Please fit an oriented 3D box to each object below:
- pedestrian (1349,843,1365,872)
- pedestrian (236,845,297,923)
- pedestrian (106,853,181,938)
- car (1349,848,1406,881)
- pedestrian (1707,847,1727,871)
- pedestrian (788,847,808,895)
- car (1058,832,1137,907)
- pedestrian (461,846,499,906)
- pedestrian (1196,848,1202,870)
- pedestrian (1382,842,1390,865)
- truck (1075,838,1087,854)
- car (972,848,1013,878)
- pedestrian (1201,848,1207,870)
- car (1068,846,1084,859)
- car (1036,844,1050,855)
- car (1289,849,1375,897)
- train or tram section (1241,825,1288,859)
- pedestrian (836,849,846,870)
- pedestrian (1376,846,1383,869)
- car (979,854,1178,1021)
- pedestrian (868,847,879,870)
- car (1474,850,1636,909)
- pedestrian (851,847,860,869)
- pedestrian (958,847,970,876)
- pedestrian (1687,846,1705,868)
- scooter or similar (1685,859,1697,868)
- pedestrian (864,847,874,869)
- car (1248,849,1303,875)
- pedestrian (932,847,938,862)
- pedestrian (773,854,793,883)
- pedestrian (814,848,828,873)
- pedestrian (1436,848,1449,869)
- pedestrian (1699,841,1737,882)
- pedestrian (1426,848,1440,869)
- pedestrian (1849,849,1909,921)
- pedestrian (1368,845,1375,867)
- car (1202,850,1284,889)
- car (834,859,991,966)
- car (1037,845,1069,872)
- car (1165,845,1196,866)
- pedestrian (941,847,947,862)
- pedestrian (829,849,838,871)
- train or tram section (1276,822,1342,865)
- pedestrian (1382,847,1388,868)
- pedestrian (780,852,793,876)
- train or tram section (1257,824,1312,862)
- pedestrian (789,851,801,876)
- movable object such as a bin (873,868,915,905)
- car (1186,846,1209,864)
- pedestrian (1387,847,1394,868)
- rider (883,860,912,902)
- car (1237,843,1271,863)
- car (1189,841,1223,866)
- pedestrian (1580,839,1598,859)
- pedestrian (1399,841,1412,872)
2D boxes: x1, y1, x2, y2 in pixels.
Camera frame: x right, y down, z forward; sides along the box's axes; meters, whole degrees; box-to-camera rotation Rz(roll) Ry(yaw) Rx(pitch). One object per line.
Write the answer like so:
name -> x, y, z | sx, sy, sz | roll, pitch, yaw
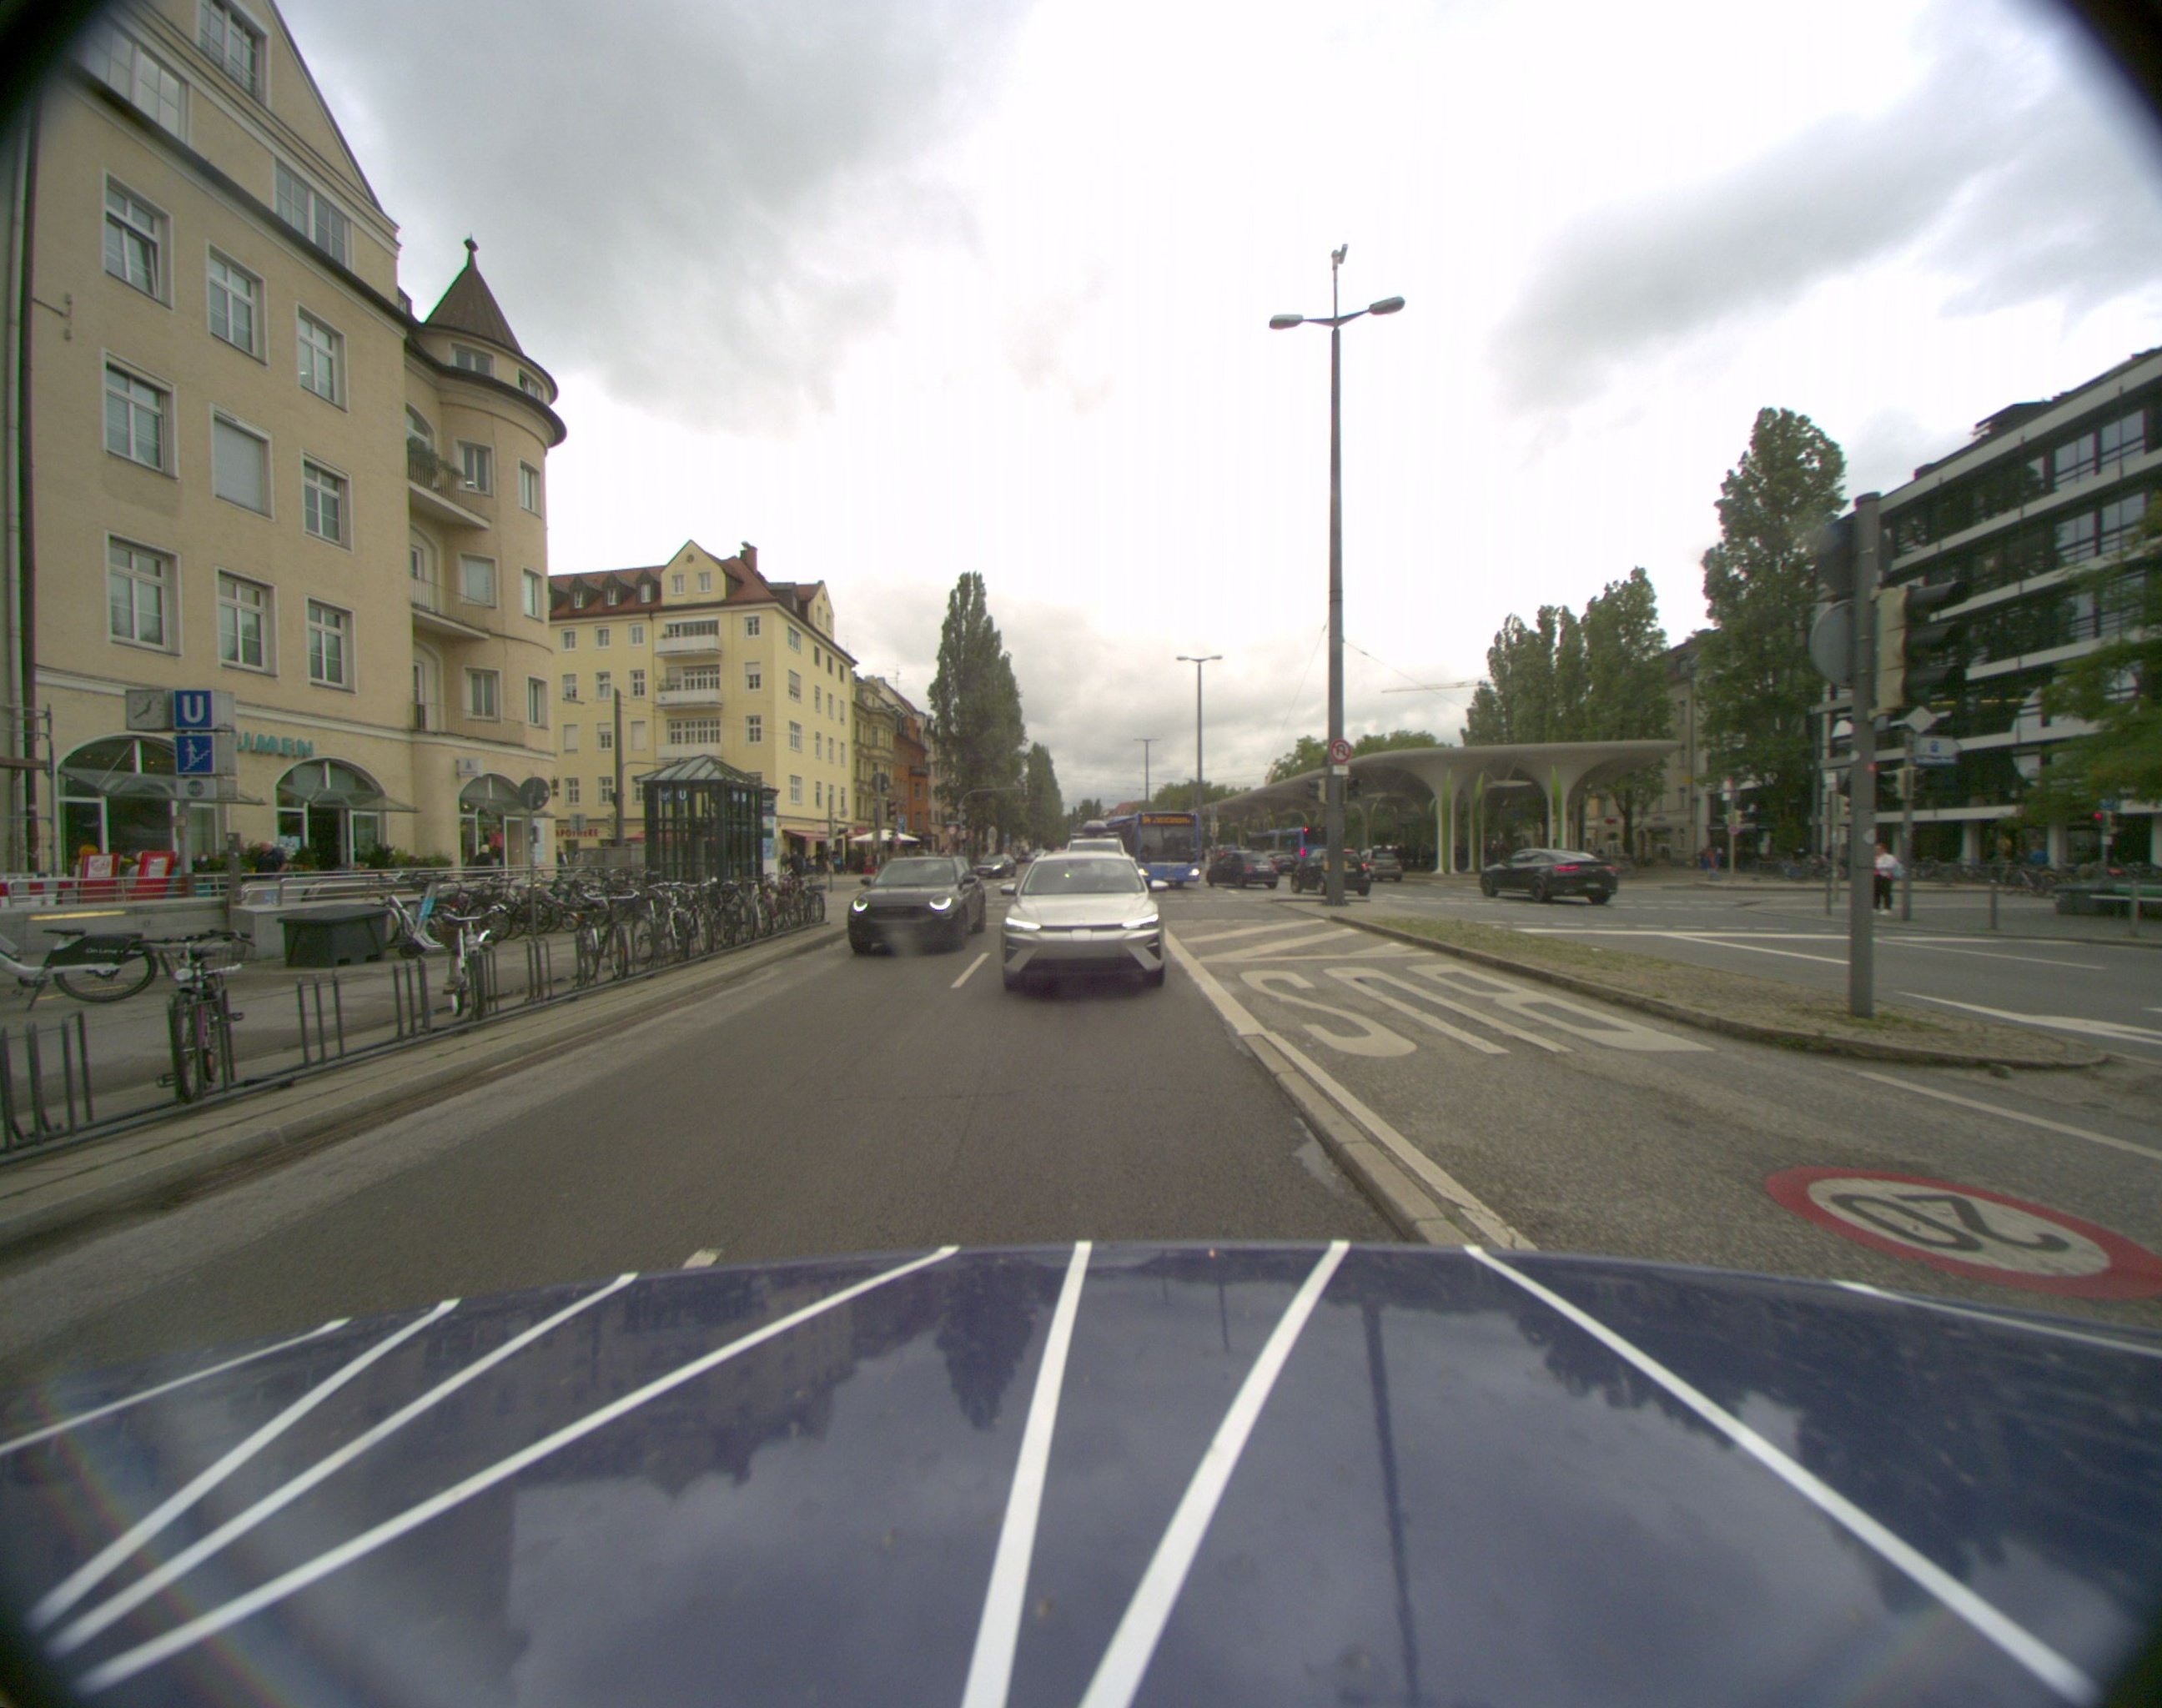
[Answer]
pedestrian -> 16.501, 0.206, 45.450 | 0.711, 1.738, 0.788 | 0, 1, 0
pedestrian -> -18.508, 0.667, 17.275 | 0.618, 1.729, 0.644 | 0, 2, 0
pedestrian -> -17.462, 0.767, 14.164 | 0.566, 1.533, 0.590 | 0, 2, 0
car -> 14.285, 0.489, 36.726 | 1.674, 1.506, 2.746 | 0, 1, -1
pedestrian -> 45.430, 0.370, 54.262 | 0.834, 1.689, 0.906 | 0, 1, 23
pedestrian -> -10.570, 0.622, 28.389 | 0.641, 1.767, 0.609 | -1, 1, -22
car -> 0.490, 0.352, 21.879 | 1.998, 1.889, 4.235 | -2, 1, 1
pedestrian -> -17.281, 0.612, 21.864 | 0.566, 1.691, 0.590 | 0, 2, 0
pedestrian -> 7.567, 0.313, 48.634 | 0.357, 1.411, 0.380 | 0, 1, 1
pedestrian -> 19.936, -0.017, 49.643 | 0.334, 1.494, 0.317 | 0, 1, -8
truck -> -0.024, -1.841, 171.327 | 2.540, 3.468, 7.751 | 0, 1, 1
car -> -5.293, 0.504, 46.020 | 1.854, 1.615, 3.999 | -2, 1, 1
pedestrian -> 7.816, 0.315, 48.265 | 0.357, 1.411, 0.380 | 0, 1, 1
car -> -0.652, -0.207, 98.152 | 1.999, 1.630, 3.999 | 0, 1, -1
car -> -6.108, -0.738, 121.778 | 1.998, 1.630, 4.000 | 0, 1, 1
car -> 8.308, 0.584, 25.370 | 1.562, 1.498, 2.785 | -1, 1, -12
train or tram section -> 17.238, -1.102, 71.858 | 2.840, 2.984, 7.407 | 0, 1, 1
pedestrian -> -16.985, 0.390, 53.824 | 0.528, 1.517, 0.585 | 0, 1, -6
pedestrian -> 19.572, 0.231, 49.810 | 0.320, 1.494, 0.317 | 0, 1, -8
car -> 0.042, 0.823, 9.429 | 1.896, 1.483, 3.999 | -2, 1, 2
pedestrian -> -15.221, 0.301, 55.721 | 0.552, 1.675, 0.585 | 0, 1, 2
car -> 14.016, 0.675, 22.845 | 1.998, 1.567, 4.616 | 0, 1, 0
pedestrian -> -17.683, 0.317, 59.606 | 0.552, 1.675, 0.585 | 0, 1, 2
pedestrian -> -7.305, 0.460, 47.572 | 0.732, 1.792, 0.710 | 0, 3, -8
pedestrian -> 47.970, 0.227, 59.239 | 0.799, 1.714, 0.827 | 0, 1, 12
scooter or similar -> 48.147, 0.724, 59.968 | 0.519, 0.711, 0.681 | 0, 1, 12
pedestrian -> -15.703, 0.298, 56.335 | 0.552, 1.675, 0.585 | 0, 1, 2
car -> 11.312, 0.421, 44.482 | 1.999, 1.408, 4.614 | 0, 1, 0
pedestrian -> -16.467, 0.074, 85.537 | 0.552, 1.675, 0.585 | 0, 1, 2
pedestrian -> -16.693, 0.812, 42.632 | 0.714, 1.558, 0.832 | -2, 2, 1
pedestrian -> -17.582, 0.453, 51.410 | 0.684, 1.657, 0.623 | 0, 1, 3
pedestrian -> 22.922, 0.266, 48.231 | 0.549, 1.330, 0.592 | 0, 1, 0
pedestrian -> 28.510, 0.325, 34.033 | 0.861, 1.767, 0.980 | 0, 1, 2
pedestrian -> 22.302, 0.291, 48.146 | 0.549, 1.330, 0.592 | 0, 1, 0
pedestrian -> 17.984, 0.678, 17.128 | 0.640, 1.543, 0.759 | -3, 2, -24
pedestrian -> 19.109, 0.124, 49.975 | 0.426, 1.494, 0.490 | 0, 1, 27
car -> 6.419, 0.578, 30.442 | 1.630, 1.471, 3.382 | 0, 0, -20
car -> -2.706, 0.874, 13.137 | 1.740, 1.462, 4.050 | -1, 1, 1
car -> -1.944, 0.304, 53.771 | 1.998, 1.740, 3.999 | -2, 1, 1
car -> 7.620, 0.106, 58.590 | 1.922, 1.461, 3.999 | -2, 1, 2
pedestrian -> -15.645, 0.016, 86.661 | 0.552, 1.675, 0.585 | 0, 1, 2
pedestrian -> -17.503, 0.409, 53.750 | 0.528, 1.517, 0.585 | 0, 1, -6
train or tram section -> 16.995, -0.778, 57.070 | 2.840, 2.984, 7.407 | 0, 1, 1
pedestrian -> 19.702, 0.216, 49.262 | 0.316, 1.335, 0.339 | 0, 1, 18
pedestrian -> -18.483, 0.617, 47.730 | 0.528, 1.517, 0.585 | 0, 1, 2
train or tram section -> 17.115, -0.939, 64.460 | 2.840, 2.984, 7.407 | 0, 1, 1
pedestrian -> -17.977, 0.600, 47.734 | 0.528, 1.517, 0.585 | 0, 1, 2
movable object such as a bin -> -5.692, 0.994, 23.216 | 1.089, 1.056, 0.747 | 1, 2, -2
car -> 11.362, 0.059, 74.328 | 1.760, 1.674, 3.999 | -2, 1, 2
pedestrian -> 20.099, 0.243, 49.315 | 0.303, 1.369, 0.270 | 0, 1, -1
rider -> -5.603, 0.825, 23.224 | 0.732, 1.234, 0.732 | 1, 2, -2
car -> 14.061, -0.093, 62.005 | 1.932, 1.576, 4.000 | 0, 1, 1
car -> 9.489, -0.069, 57.896 | 1.998, 1.762, 4.306 | 1, 1, 2
pedestrian -> 45.949, -0.451, 68.743 | 0.984, 1.762, 0.952 | -1, 1, -19
pedestrian -> 19.439, 0.121, 45.499 | 0.666, 1.840, 0.789 | 0, 1, 21
